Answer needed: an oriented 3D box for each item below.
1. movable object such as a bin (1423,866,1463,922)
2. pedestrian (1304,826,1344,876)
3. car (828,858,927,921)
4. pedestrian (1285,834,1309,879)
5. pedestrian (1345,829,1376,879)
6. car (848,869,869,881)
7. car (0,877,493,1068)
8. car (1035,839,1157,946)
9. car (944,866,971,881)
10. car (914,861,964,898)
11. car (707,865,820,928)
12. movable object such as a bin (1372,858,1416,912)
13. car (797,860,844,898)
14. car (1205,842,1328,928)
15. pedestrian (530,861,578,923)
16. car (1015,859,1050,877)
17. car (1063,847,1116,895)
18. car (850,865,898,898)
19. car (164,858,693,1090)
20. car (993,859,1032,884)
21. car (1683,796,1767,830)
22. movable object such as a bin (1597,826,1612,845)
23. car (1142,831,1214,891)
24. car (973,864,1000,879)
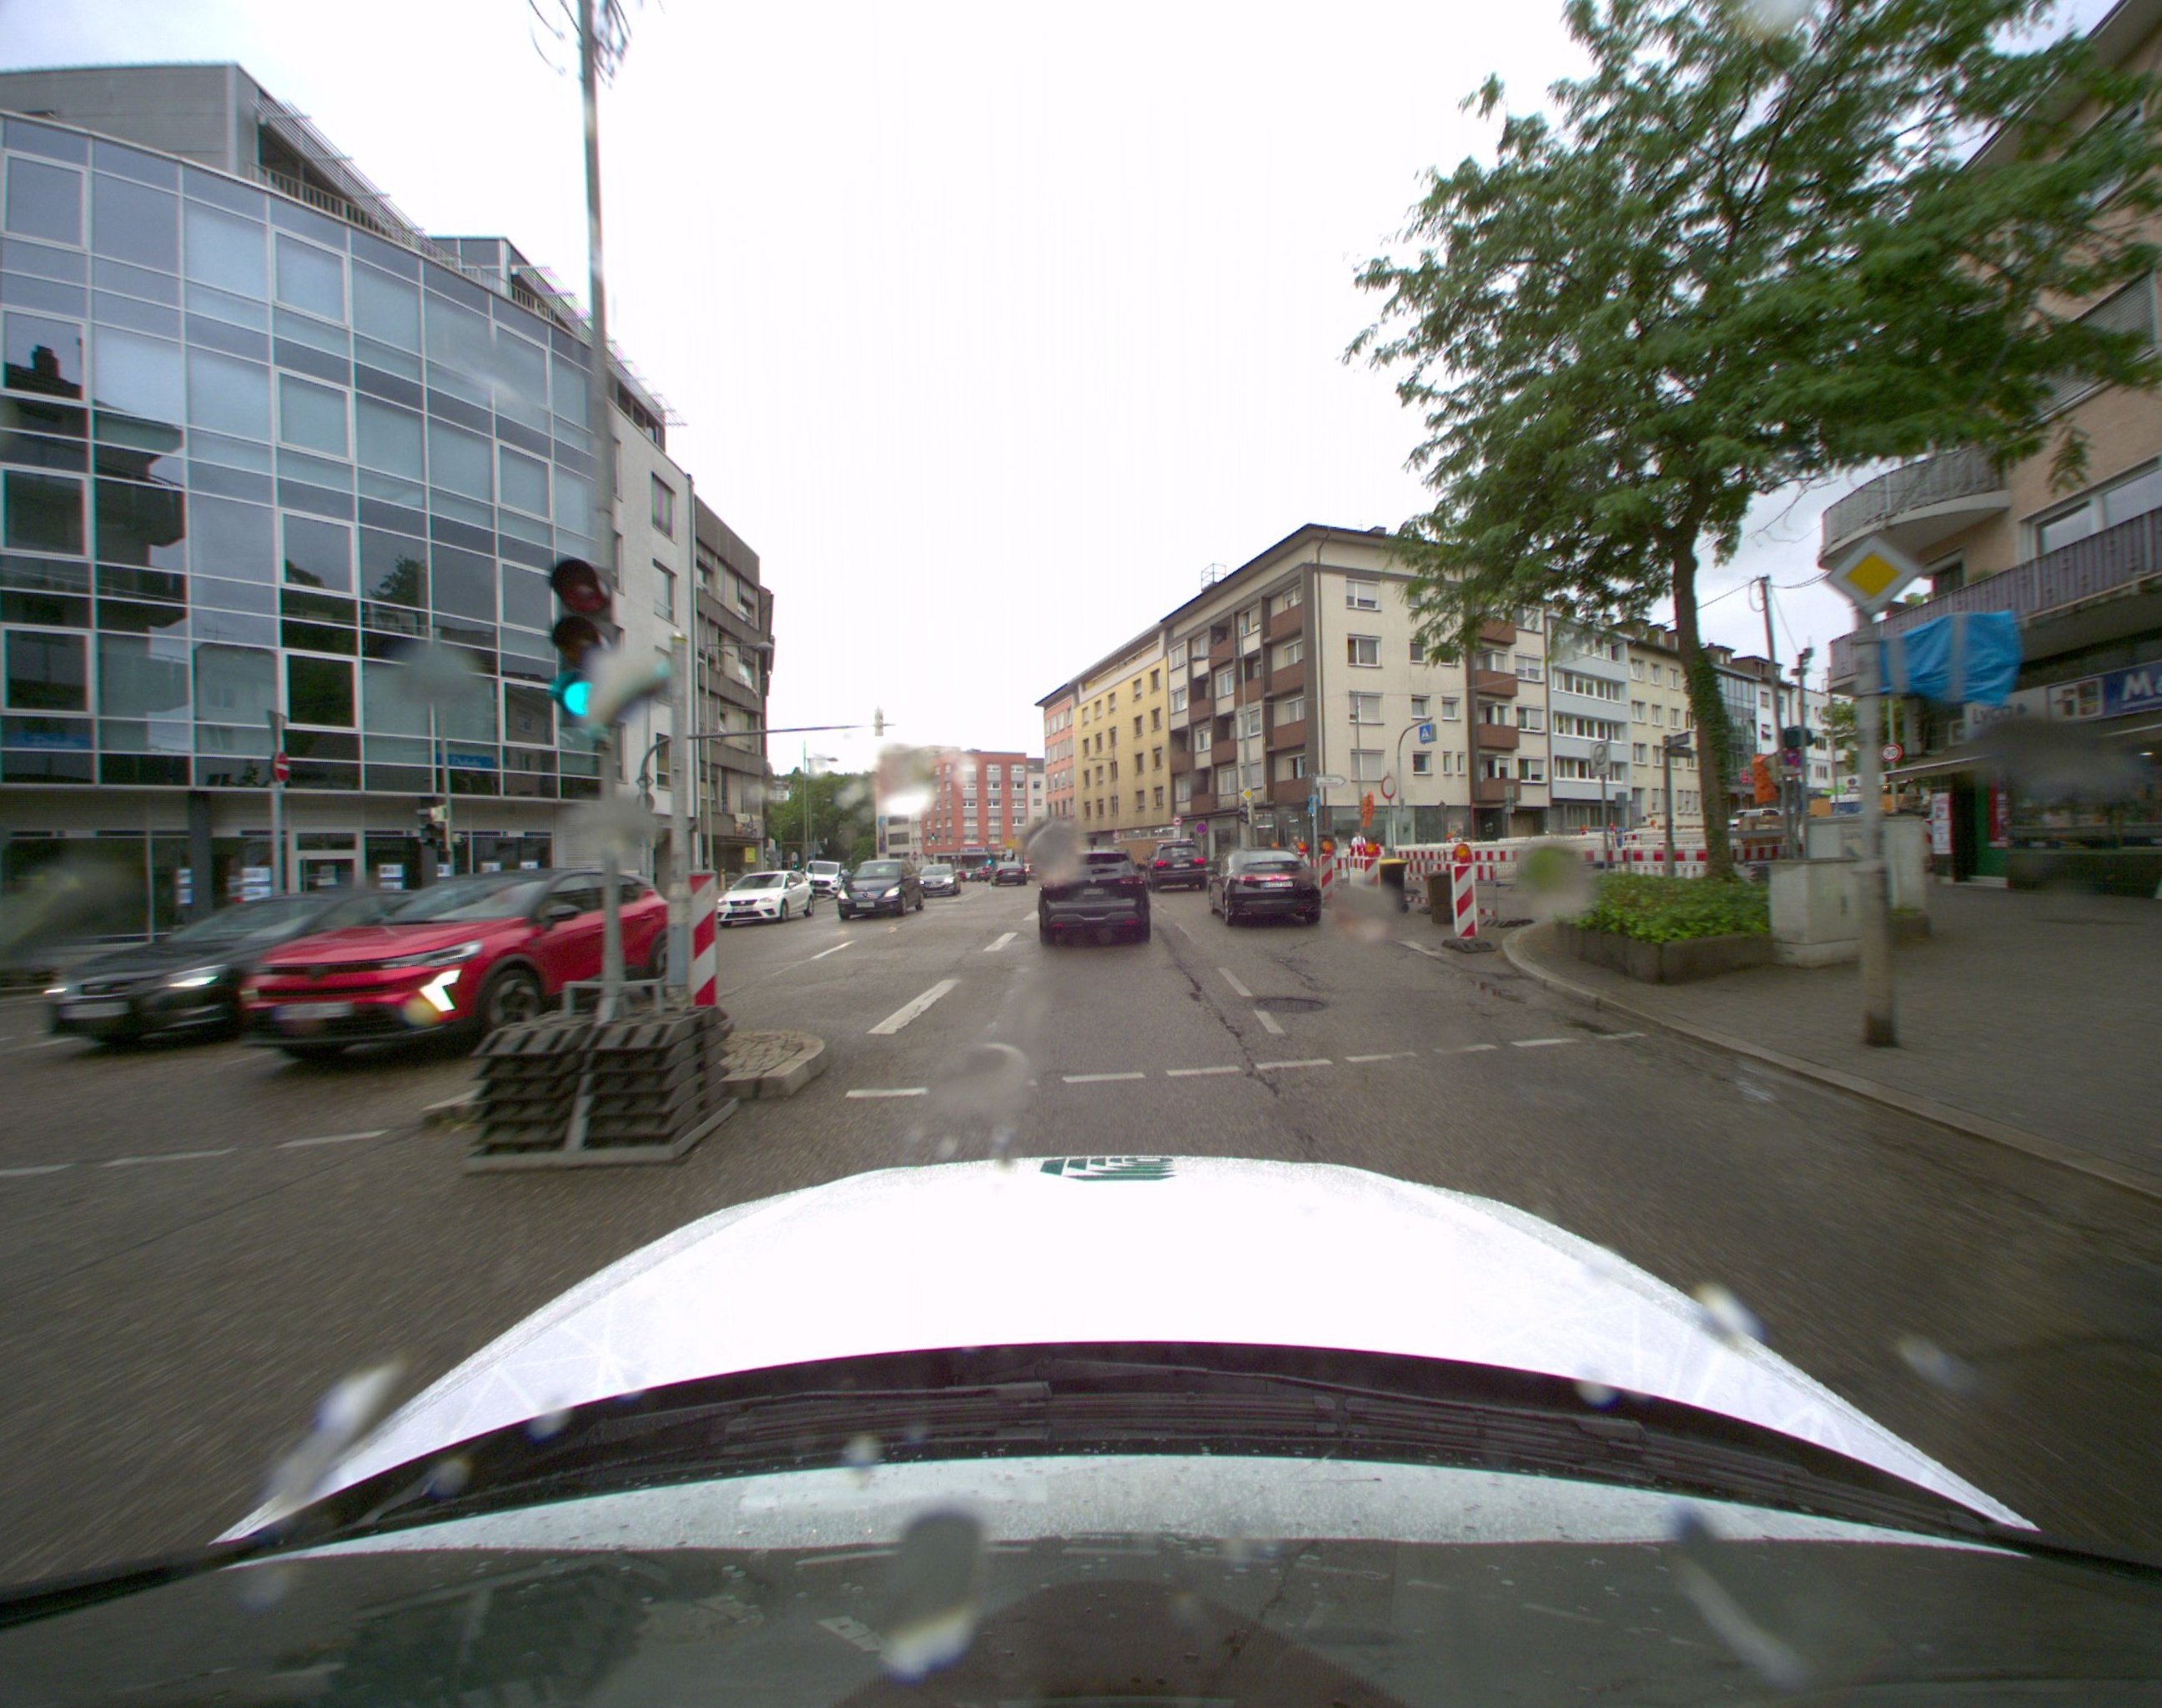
[{"bbox_3d":[6.378,0.705,14.370,0.418,0.929,0.531,-3,1,-1],"label":"movable object such as a bin"},{"bbox_3d":[9.359,-0.120,31.355,0.924,1.861,1.019,-1,-3,-42],"label":"pedestrian"},{"bbox_3d":[-5.742,0.946,23.529,1.825,1.543,4.281,-2,0,-2],"label":"car"},{"bbox_3d":[8.429,0.088,31.802,0.786,1.688,0.824,-4,-2,15],"label":"pedestrian"},{"bbox_3d":[10.779,-0.006,31.398,0.649,1.879,0.999,-6,-3,45],"label":"pedestrian"},{"bbox_3d":[-31.571,3.002,115.433,1.946,1.527,4.096,-2,-1,-29],"label":"car"},{"bbox_3d":[-9.057,1.114,9.214,1.841,1.497,3.999,-3,0,0],"label":"car"},{"bbox_3d":[0.234,0.608,14.667,1.888,1.629,3.999,-1,0,0],"label":"car"},{"bbox_3d":[-12.643,1.990,83.066,1.999,1.530,3.974,1,-1,-19],"label":"car"},{"bbox_3d":[-6.476,1.130,37.461,1.850,1.474,4.639,-3,0,-6],"label":"car"},{"bbox_3d":[-9.005,1.142,23.481,1.769,1.524,4.277,-2,0,-4],"label":"car"},{"bbox_3d":[6.330,0.619,16.491,0.619,1.031,0.531,-3,1,-2],"label":"movable object such as a bin"},{"bbox_3d":[-14.405,1.428,45.266,2.121,2.015,5.103,1,-3,-14],"label":"car"},{"bbox_3d":[3.612,0.519,16.555,1.776,1.496,4.060,-1,1,3],"label":"car"},{"bbox_3d":[-14.185,1.003,21.945,0.618,1.608,0.837,-2,0,26],"label":"pedestrian"},{"bbox_3d":[-4.279,1.249,71.995,2.001,1.486,3.972,1,-1,-21],"label":"car"},{"bbox_3d":[0.280,0.655,33.011,1.940,1.685,3.997,-4,0,-2],"label":"car"},{"bbox_3d":[-10.554,1.363,41.843,1.929,1.474,4.587,-4,0,-10],"label":"car"},{"bbox_3d":[-5.738,0.884,7.993,1.841,1.594,4.089,-3,0,0],"label":"car"},{"bbox_3d":[-4.108,1.029,48.320,1.993,1.388,4.486,0,-1,-8],"label":"car"},{"bbox_3d":[38.919,-2.488,49.230,4.807,1.720,1.983,-4,-1,-26],"label":"car"},{"bbox_3d":[29.944,-1.041,46.563,0.541,1.048,0.526,1,-2,-31],"label":"movable object such as a bin"},{"bbox_3d":[3.439,0.296,29.842,2.014,1.869,4.899,-4,-1,0],"label":"car"},{"bbox_3d":[-10.065,1.837,86.186,2.000,1.519,3.973,1,-1,-20],"label":"car"}]
